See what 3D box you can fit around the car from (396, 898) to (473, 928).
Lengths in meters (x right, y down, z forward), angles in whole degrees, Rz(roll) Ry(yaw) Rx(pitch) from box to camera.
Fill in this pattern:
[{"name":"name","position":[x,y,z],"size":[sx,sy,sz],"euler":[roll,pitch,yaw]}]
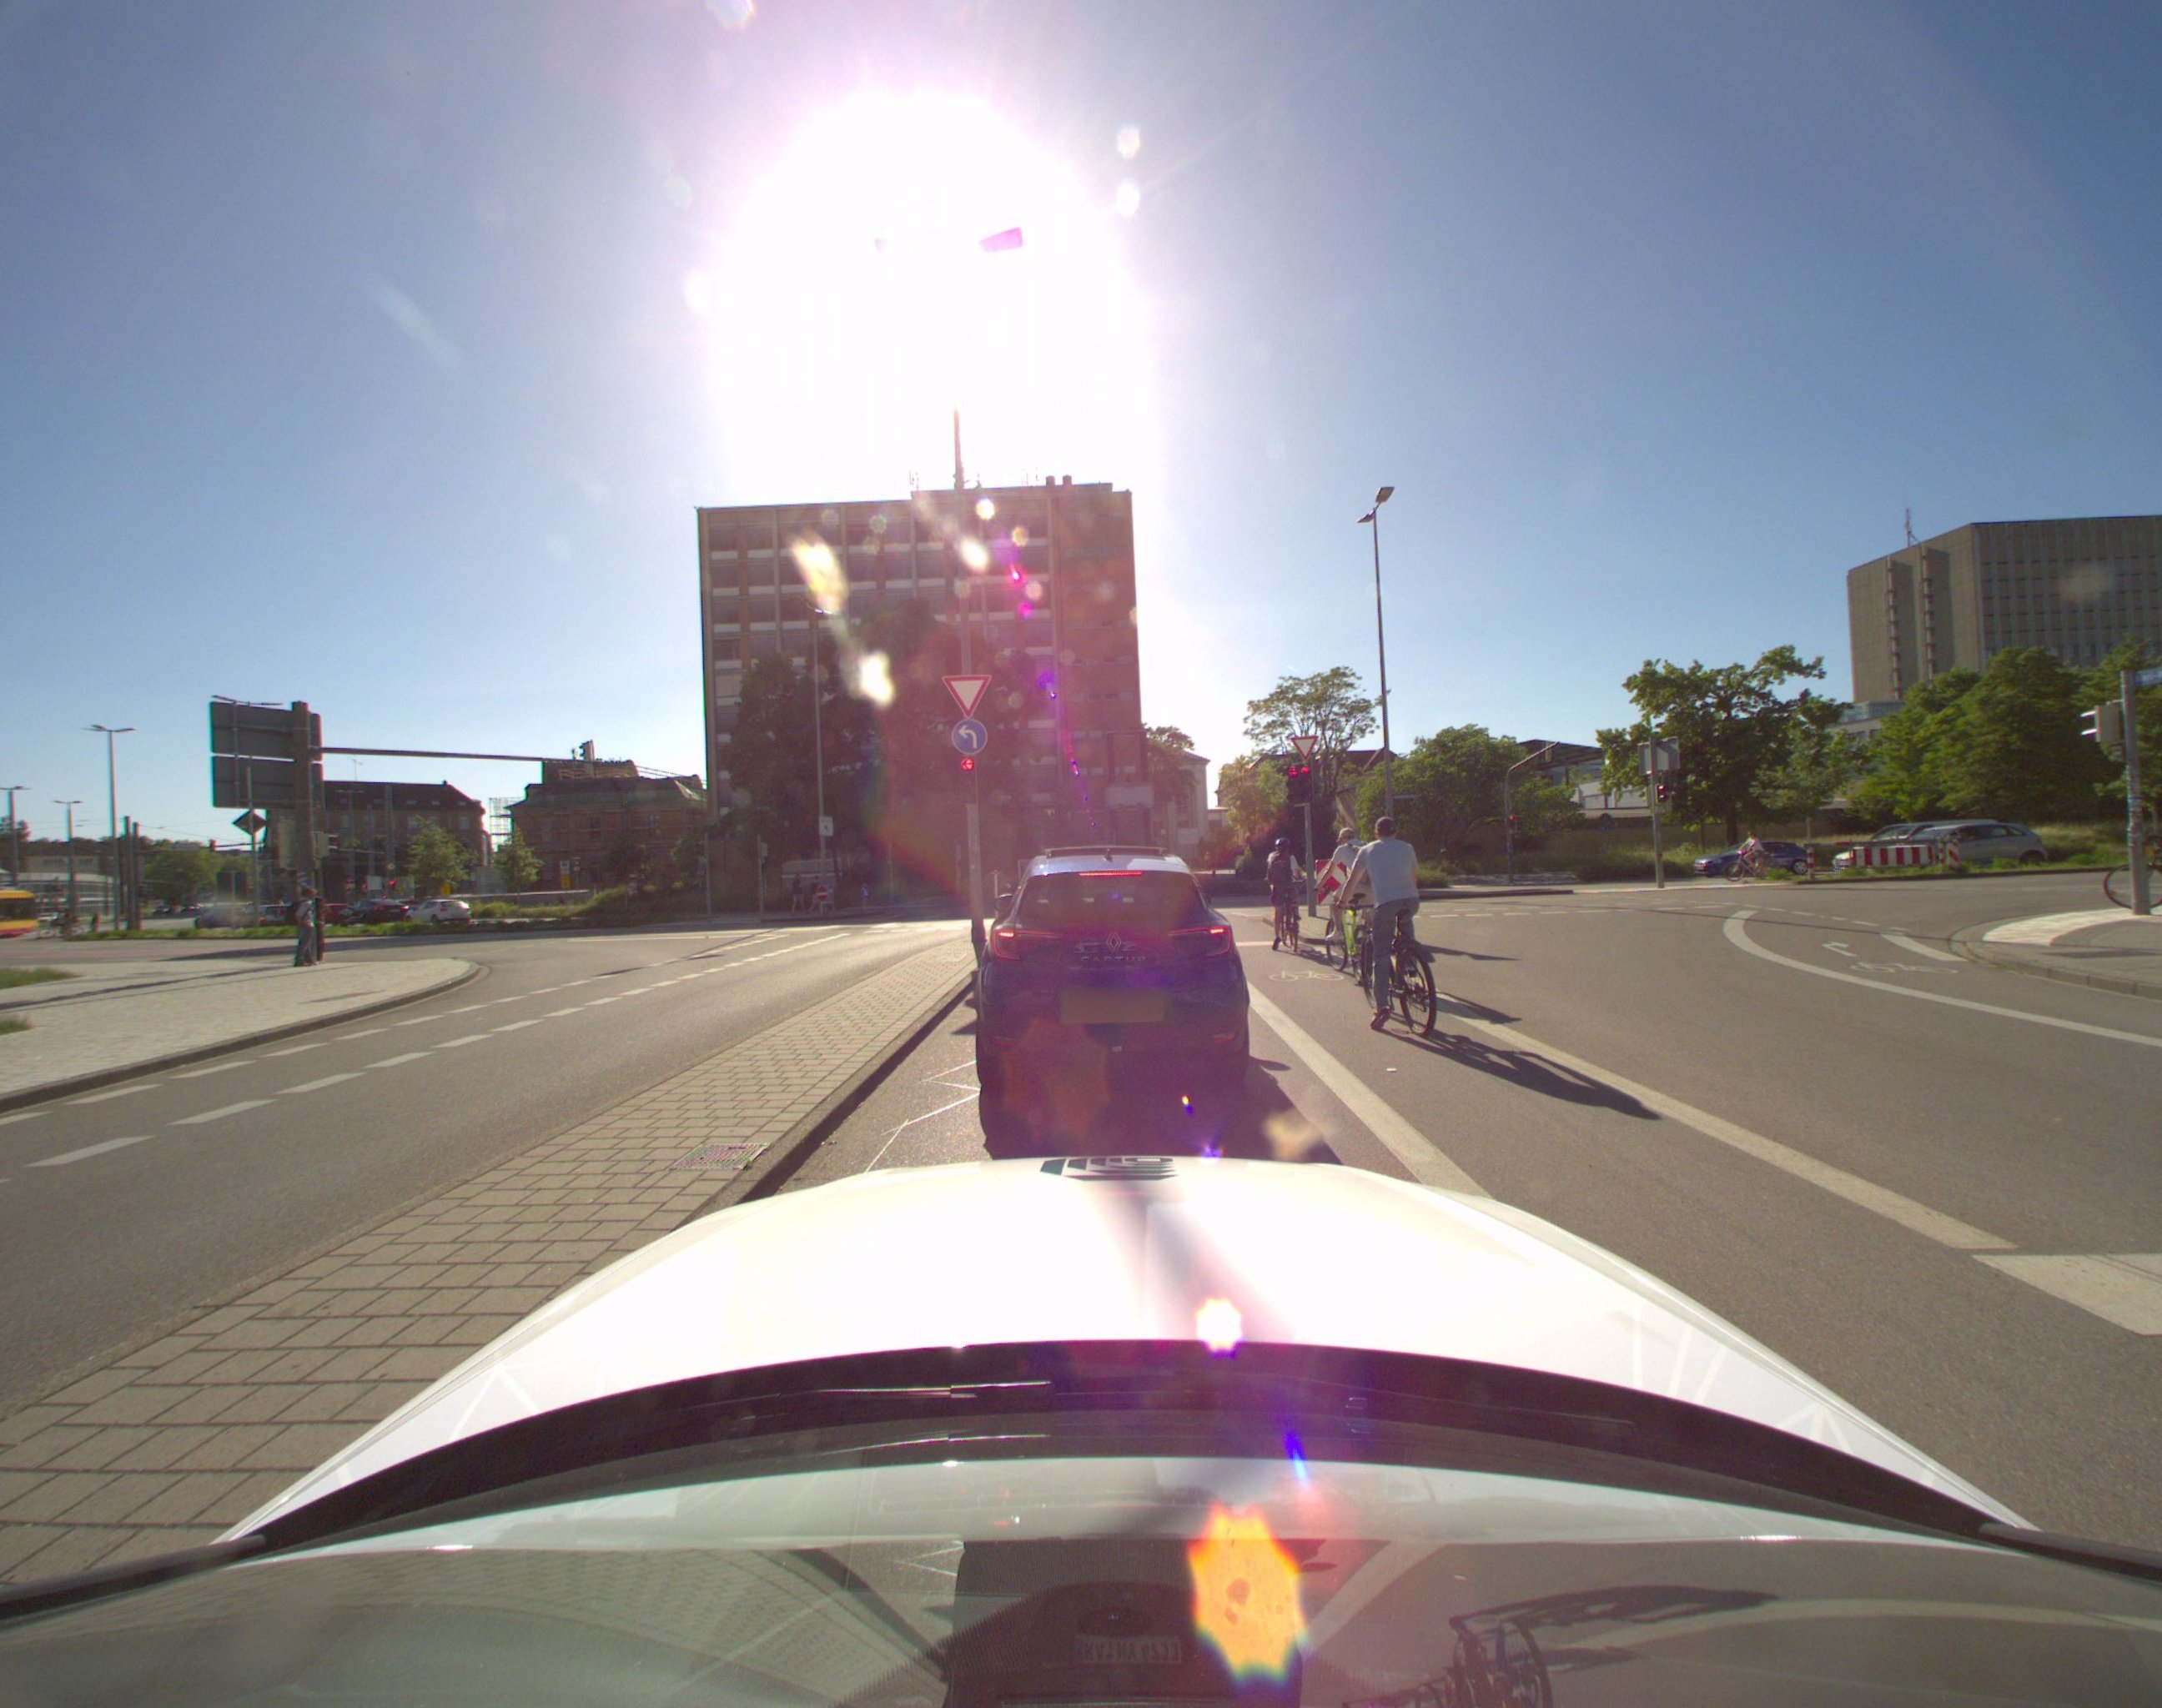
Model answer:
[{"name":"car","position":[-36.393,3.333,45.842],"size":[3.834,1.508,1.805],"euler":[-3,-1,25]}]

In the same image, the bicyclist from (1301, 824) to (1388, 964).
[{"name":"bicyclist","position":[3.173,0.461,9.892],"size":[0.676,1.594,1.142],"euler":[-1,-1,2]}]

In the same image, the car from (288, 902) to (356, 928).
[{"name":"car","position":[-48.205,3.866,51.716],"size":[3.834,1.508,1.805],"euler":[-3,-1,25]}]

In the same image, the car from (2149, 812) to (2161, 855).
[{"name":"car","position":[36.902,-0.761,25.333],"size":[4.534,1.398,1.798],"euler":[-2,-1,7]}]

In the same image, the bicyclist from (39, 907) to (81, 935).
[{"name":"bicyclist","position":[-65.882,4.317,52.556],"size":[1.585,1.634,0.800],"euler":[0,-1,-45]}]

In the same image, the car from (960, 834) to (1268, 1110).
[{"name":"car","position":[0.197,0.704,6.771],"size":[1.783,1.585,3.913],"euler":[-1,0,0]}]

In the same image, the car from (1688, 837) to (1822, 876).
[{"name":"car","position":[28.136,0.106,34.109],"size":[3.965,1.398,1.798],"euler":[-2,-1,7]}]

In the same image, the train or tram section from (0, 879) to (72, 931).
[{"name":"train or tram section","position":[-74.934,3.498,56.668],"size":[2.711,3.232,10.492],"euler":[0,-1,-32]}]

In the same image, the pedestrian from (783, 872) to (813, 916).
[{"name":"pedestrian","position":[-12.225,1.725,35.197],"size":[0.807,1.862,0.913],"euler":[-3,-1,15]}]

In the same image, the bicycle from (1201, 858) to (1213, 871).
[{"name":"bicycle","position":[11.952,0.977,77.285],"size":[0.692,1.140,2.441],"euler":[-2,0,1]}]

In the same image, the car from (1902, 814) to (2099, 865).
[{"name":"car","position":[29.221,-0.433,26.004],"size":[3.965,1.398,1.798],"euler":[-2,-1,7]}]

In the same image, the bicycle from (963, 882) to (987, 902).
[{"name":"bicycle","position":[-5.726,2.042,44.176],"size":[0.751,0.985,2.098],"euler":[-2,0,8]}]

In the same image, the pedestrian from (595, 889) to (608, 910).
[{"name":"pedestrian","position":[-41.676,3.930,70.731],"size":[0.680,1.730,0.759],"euler":[-2,-1,-7]}]

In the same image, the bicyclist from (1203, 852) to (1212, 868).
[{"name":"bicyclist","position":[11.938,0.546,76.932],"size":[0.692,1.481,0.717],"euler":[-2,-1,0]}]

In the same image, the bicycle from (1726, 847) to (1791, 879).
[{"name":"bicycle","position":[24.140,0.322,29.038],"size":[1.673,1.033,0.612],"euler":[-2,-1,7]}]

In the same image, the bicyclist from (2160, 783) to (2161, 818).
[{"name":"bicyclist","position":[16.026,-0.225,11.476],"size":[0.635,1.646,0.903],"euler":[-2,-1,-39]}]

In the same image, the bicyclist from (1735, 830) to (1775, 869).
[{"name":"bicyclist","position":[24.036,-0.159,29.054],"size":[0.870,1.343,0.612],"euler":[-2,-1,7]}]

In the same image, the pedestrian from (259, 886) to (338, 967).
[{"name":"pedestrian","position":[-17.785,1.626,18.531],"size":[0.647,1.730,1.066],"euler":[-3,-1,15]}]

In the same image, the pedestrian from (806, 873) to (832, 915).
[{"name":"pedestrian","position":[-11.182,1.716,34.817],"size":[0.675,1.730,0.764],"euler":[-3,-1,15]}]

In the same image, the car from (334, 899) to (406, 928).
[{"name":"car","position":[-42.549,3.560,48.747],"size":[3.834,1.508,1.805],"euler":[-3,-1,25]}]

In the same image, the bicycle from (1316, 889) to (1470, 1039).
[{"name":"bicycle","position":[2.717,0.899,7.334],"size":[0.687,1.089,1.923],"euler":[-1,0,2]}]

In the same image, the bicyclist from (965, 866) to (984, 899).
[{"name":"bicyclist","position":[-5.761,1.552,44.076],"size":[0.751,1.716,1.001],"euler":[-2,-1,7]}]

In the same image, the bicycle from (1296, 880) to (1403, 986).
[{"name":"bicycle","position":[3.183,0.890,9.850],"size":[0.687,1.089,1.923],"euler":[-1,0,2]}]

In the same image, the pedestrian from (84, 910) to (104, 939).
[{"name":"pedestrian","position":[-62.901,4.470,51.886],"size":[0.696,1.762,0.782],"euler":[-3,-1,38]}]

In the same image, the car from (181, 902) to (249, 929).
[{"name":"car","position":[-54.912,3.887,51.644],"size":[3.834,1.508,1.805],"euler":[-3,-1,25]}]

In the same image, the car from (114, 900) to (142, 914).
[{"name":"car","position":[-154.213,8.629,131.866],"size":[2.008,2.014,3.956],"euler":[0,-1,-35]}]

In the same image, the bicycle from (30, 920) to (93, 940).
[{"name":"bicycle","position":[-65.821,4.878,52.603],"size":[0.800,1.062,2.433],"euler":[-1,-1,45]}]

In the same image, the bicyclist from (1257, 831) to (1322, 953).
[{"name":"bicyclist","position":[3.209,0.559,12.632],"size":[0.697,1.791,1.142],"euler":[-1,-1,2]}]

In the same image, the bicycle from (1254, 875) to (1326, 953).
[{"name":"bicycle","position":[3.256,0.902,12.862],"size":[0.687,1.089,1.923],"euler":[-1,0,2]}]

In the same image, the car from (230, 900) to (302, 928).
[{"name":"car","position":[-48.863,3.600,48.812],"size":[3.834,1.508,1.805],"euler":[-3,-1,25]}]

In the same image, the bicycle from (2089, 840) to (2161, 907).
[{"name":"bicycle","position":[15.914,0.269,11.630],"size":[0.640,0.958,1.866],"euler":[-2,-1,-39]}]

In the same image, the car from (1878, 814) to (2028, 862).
[{"name":"car","position":[35.872,-0.617,33.610],"size":[3.965,1.749,1.798],"euler":[-2,-1,7]}]

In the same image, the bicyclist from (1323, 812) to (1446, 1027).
[{"name":"bicyclist","position":[2.712,0.553,7.401],"size":[0.680,1.791,1.142],"euler":[-1,-1,2]}]

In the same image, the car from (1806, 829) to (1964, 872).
[{"name":"car","position":[30.297,-0.135,30.795],"size":[3.965,1.398,1.798],"euler":[-2,-1,7]}]
